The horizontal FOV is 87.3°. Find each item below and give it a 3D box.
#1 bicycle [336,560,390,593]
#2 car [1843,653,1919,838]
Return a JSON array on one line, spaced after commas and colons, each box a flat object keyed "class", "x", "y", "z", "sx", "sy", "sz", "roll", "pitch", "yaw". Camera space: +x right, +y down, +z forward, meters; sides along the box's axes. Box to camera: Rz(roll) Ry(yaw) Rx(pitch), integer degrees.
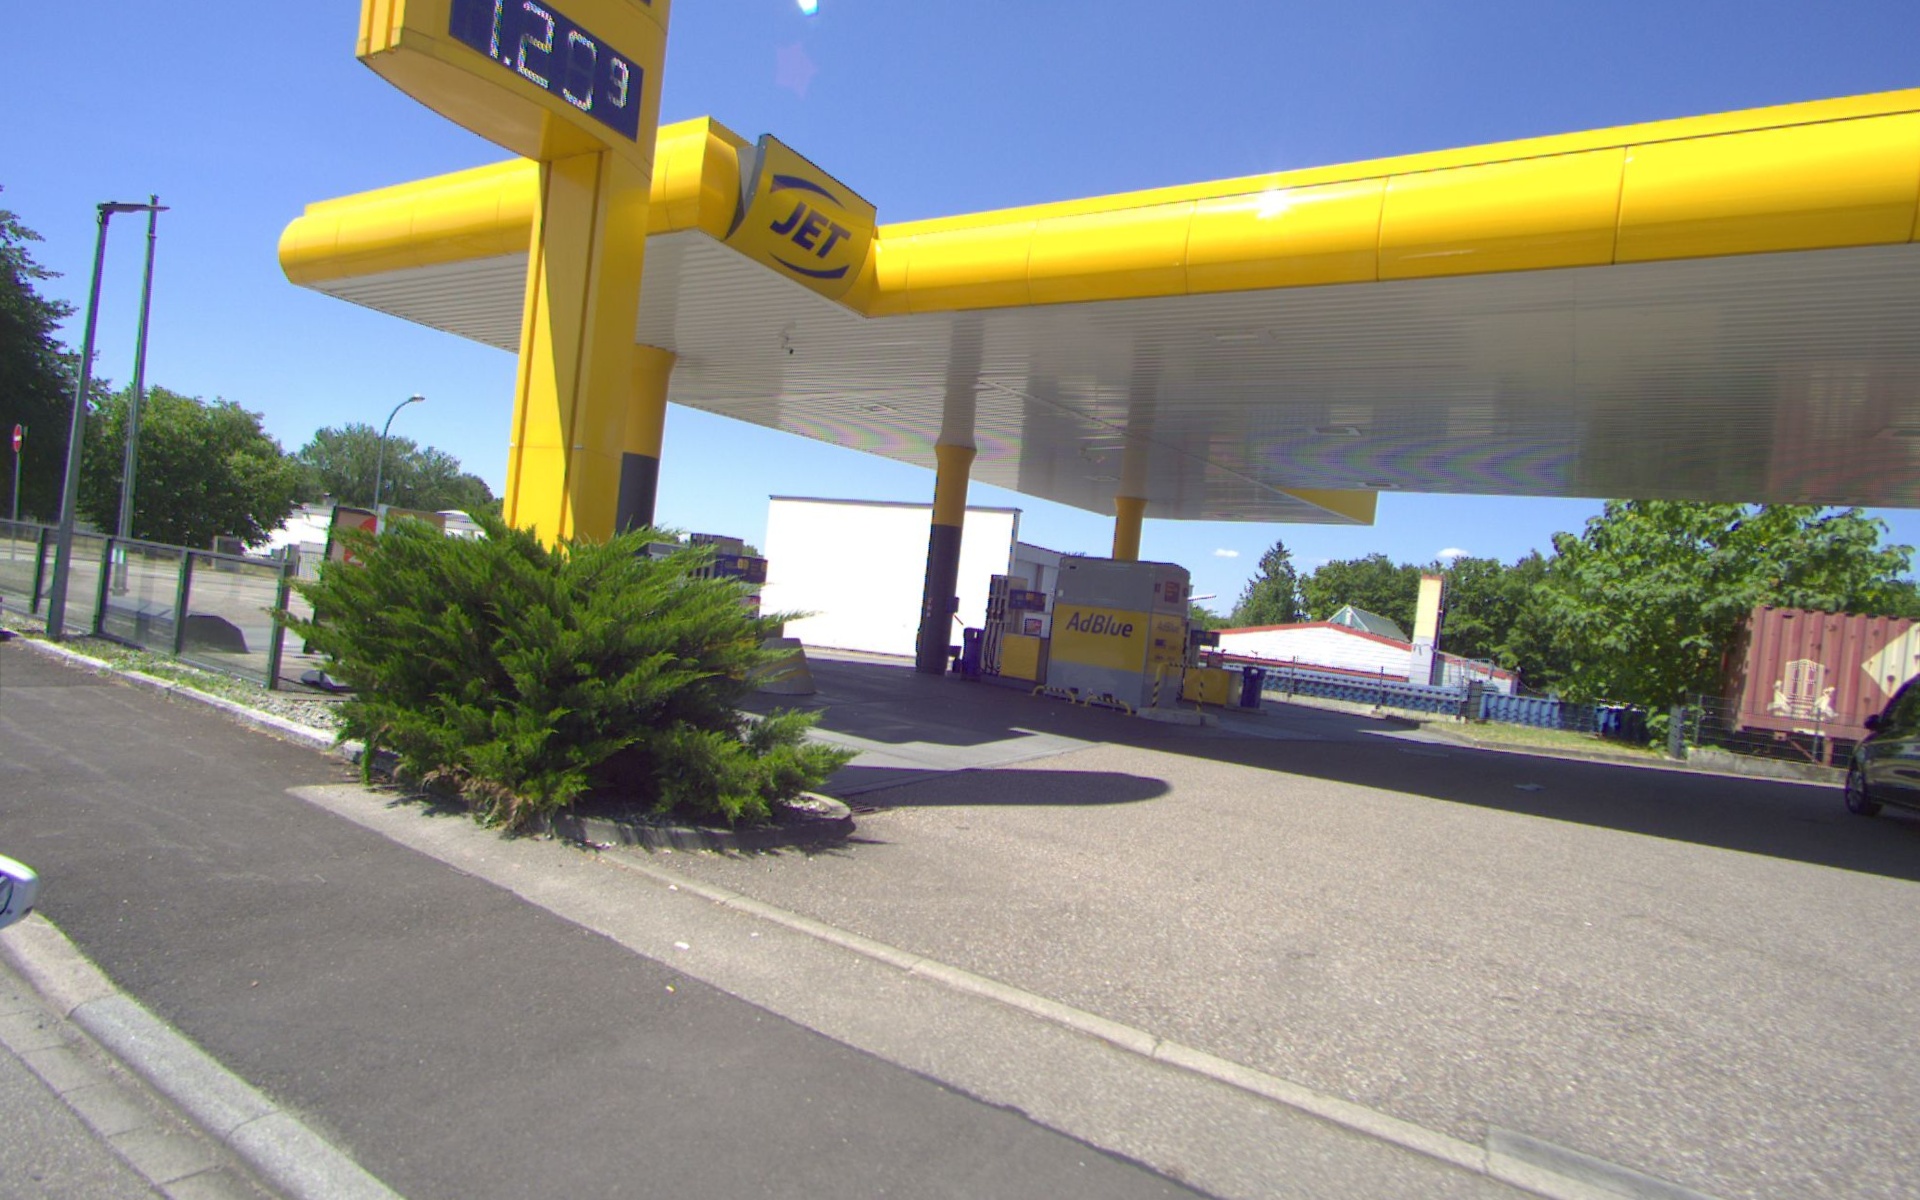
[{"class": "bicycle", "x": -23.745, "y": -0.934, "z": 40.031, "sx": 0.461, "sy": 1.110, "sz": 1.694, "roll": 6, "pitch": -2, "yaw": 36}, {"class": "car", "x": 11.633, "y": 1.704, "z": 11.001, "sx": 1.967, "sy": 1.998, "sz": 5.057, "roll": 6, "pitch": -1, "yaw": 32}]
